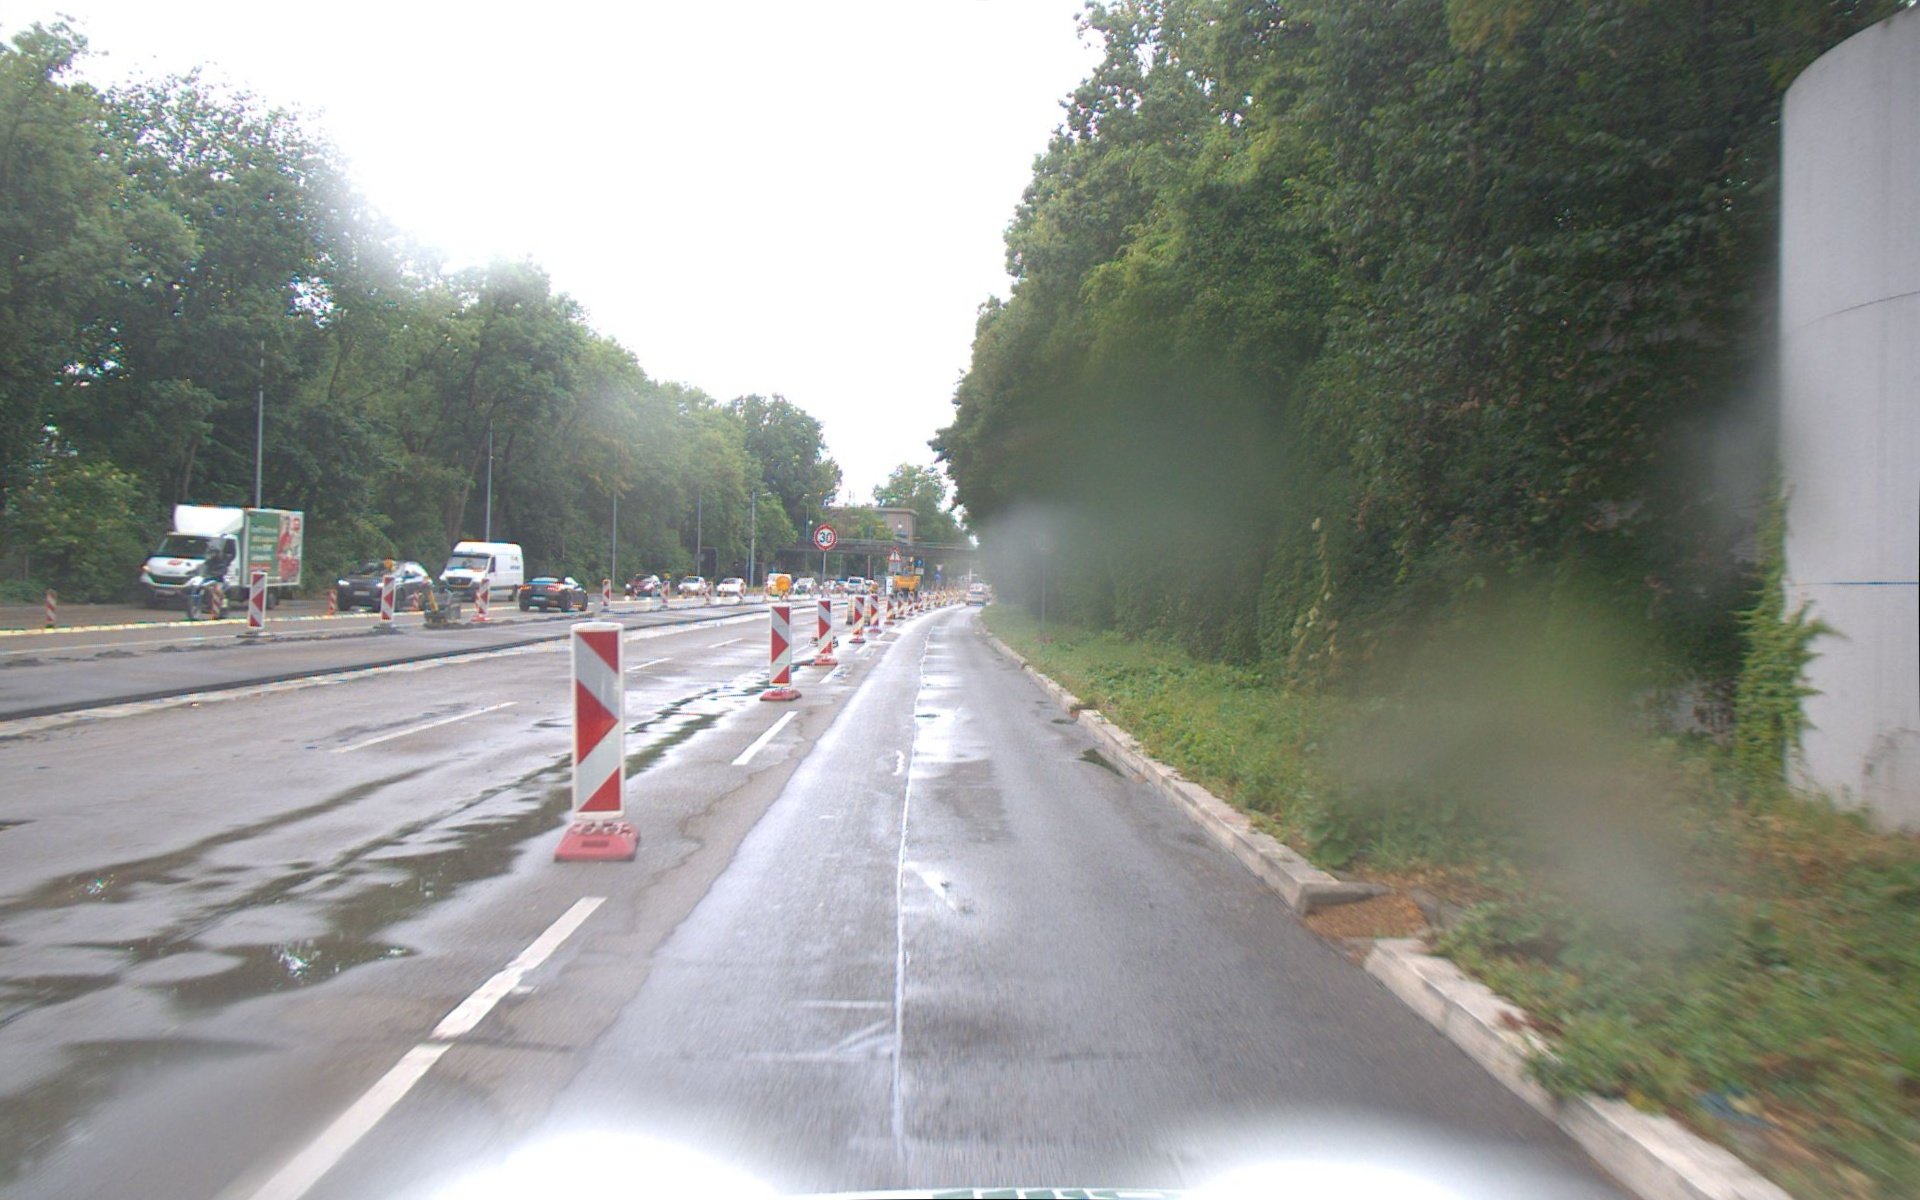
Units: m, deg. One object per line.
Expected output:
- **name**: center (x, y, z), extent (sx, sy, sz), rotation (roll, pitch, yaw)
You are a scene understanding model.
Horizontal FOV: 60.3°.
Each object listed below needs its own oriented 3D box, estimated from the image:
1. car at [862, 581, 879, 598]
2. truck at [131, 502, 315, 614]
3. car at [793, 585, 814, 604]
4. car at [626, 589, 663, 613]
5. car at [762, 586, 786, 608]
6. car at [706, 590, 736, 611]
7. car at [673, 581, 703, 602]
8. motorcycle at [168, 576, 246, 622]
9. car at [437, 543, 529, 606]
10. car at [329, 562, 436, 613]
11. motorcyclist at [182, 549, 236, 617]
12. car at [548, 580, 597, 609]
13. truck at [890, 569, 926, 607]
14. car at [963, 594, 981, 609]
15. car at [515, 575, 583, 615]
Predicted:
- **car**: center (-9.986, -1.176, 184.518), extent (1.635, 1.840, 4.321), rotation (1, 1, 0)
- **truck**: center (-21.418, -1.179, 48.475), extent (2.200, 2.991, 6.935), rotation (1, 0, 0)
- **car**: center (-16.038, -0.560, 169.348), extent (1.635, 1.840, 4.320), rotation (1, 0, 0)
- **car**: center (-21.197, 0.065, 111.157), extent (1.635, 1.511, 4.320), rotation (1, 0, 0)
- **car**: center (-16.680, -0.274, 148.525), extent (1.635, 1.840, 4.320), rotation (1, 0, 0)
- **car**: center (-17.999, -0.008, 124.669), extent (1.635, 1.511, 4.320), rotation (1, 0, 0)
- **car**: center (-20.881, -0.643, 127.005), extent (1.635, 1.511, 4.049), rotation (1, 0, 0)
- **motorcycle**: center (-18.156, -0.031, 39.955), extent (0.811, 1.032, 2.366), rotation (2, 0, -1)
- **car**: center (-21.197, -1.107, 73.818), extent (2.056, 2.625, 6.853), rotation (1, 0, 0)
- **car**: center (-18.863, -0.410, 54.230), extent (1.919, 1.558, 4.436), rotation (1, 0, 0)
- **motorcyclist**: center (-18.144, -0.415, 39.971), extent (0.811, 1.592, 0.926), rotation (2, 0, -1)
- **car**: center (-21.219, -0.306, 90.759), extent (1.635, 1.511, 4.320), rotation (1, 0, 0)
- **truck**: center (-4.989, -1.178, 162.305), extent (3.193, 3.558, 13.868), rotation (1, 0, -1)
- **car**: center (1.094, 0.111, 152.362), extent (1.662, 1.359, 3.491), rotation (-1, 0, 0)
- **car**: center (-15.739, -0.193, 63.488), extent (1.574, 1.429, 4.041), rotation (1, 0, 0)
